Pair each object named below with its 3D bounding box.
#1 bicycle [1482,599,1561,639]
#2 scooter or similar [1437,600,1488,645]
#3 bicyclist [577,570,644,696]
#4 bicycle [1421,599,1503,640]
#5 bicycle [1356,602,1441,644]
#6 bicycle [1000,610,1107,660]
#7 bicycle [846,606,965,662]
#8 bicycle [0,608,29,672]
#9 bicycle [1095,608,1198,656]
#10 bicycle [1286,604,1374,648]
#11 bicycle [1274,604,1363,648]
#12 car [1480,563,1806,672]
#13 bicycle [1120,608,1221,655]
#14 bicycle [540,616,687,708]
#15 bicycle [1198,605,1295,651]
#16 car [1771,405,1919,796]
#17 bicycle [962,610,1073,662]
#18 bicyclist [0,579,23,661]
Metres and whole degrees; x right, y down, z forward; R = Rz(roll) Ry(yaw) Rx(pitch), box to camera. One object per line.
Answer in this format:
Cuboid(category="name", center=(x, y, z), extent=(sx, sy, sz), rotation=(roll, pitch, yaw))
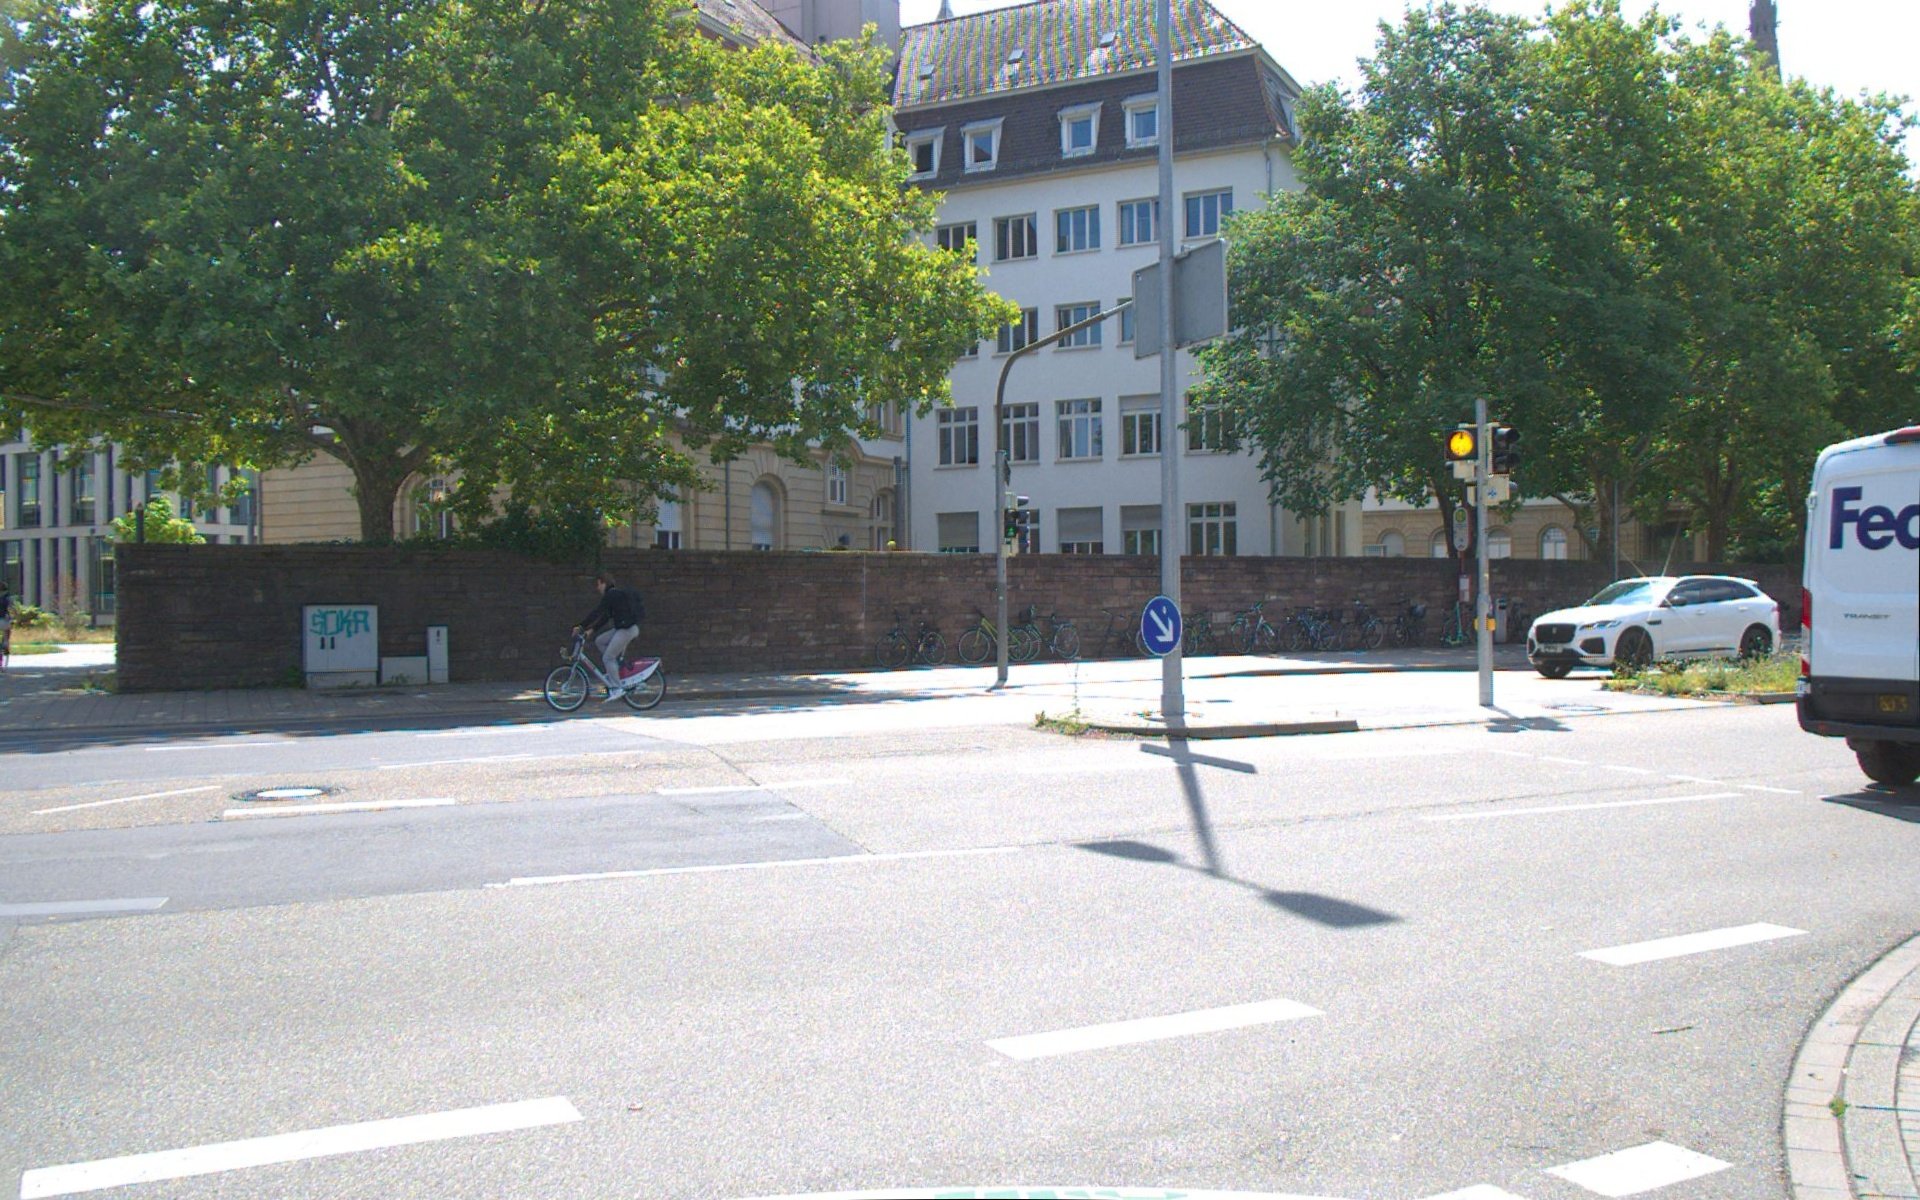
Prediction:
Cuboid(category="bicycle", center=(15.137, 0.499, 44.548), extent=(2.360, 1.011, 0.745), rotation=(-1, 0, -35))
Cuboid(category="scooter or similar", center=(12.634, 0.563, 41.552), extent=(0.530, 1.103, 1.923), rotation=(-1, -1, 40))
Cuboid(category="bicyclist", center=(-4.833, 0.450, 22.909), extent=(0.872, 1.701, 0.682), rotation=(-1, 0, -12))
Cuboid(category="bicycle", center=(13.085, 0.510, 43.059), extent=(2.361, 1.011, 0.745), rotation=(-1, 0, -35))
Cuboid(category="bicycle", center=(11.071, 0.574, 41.722), extent=(2.362, 1.011, 0.744), rotation=(-1, 0, -36))
Cuboid(category="bicycle", center=(2.022, 0.743, 35.483), extent=(2.359, 1.011, 0.689), rotation=(-1, 0, -33))
Cuboid(category="bicycle", center=(-1.087, 0.670, 33.437), extent=(2.359, 1.077, 0.745), rotation=(-1, 0, -33))
Cuboid(category="bicycle", center=(-17.669, 0.731, 30.618), extent=(0.543, 1.150, 2.158), rotation=(0, 0, -23))
Cuboid(category="bicycle", center=(4.179, 0.700, 36.955), extent=(2.359, 1.011, 0.745), rotation=(-1, 0, -33))
Cuboid(category="bicycle", center=(9.049, 0.621, 40.383), extent=(2.361, 1.011, 0.715), rotation=(-1, 0, -36))
Cuboid(category="bicycle", center=(8.715, 0.627, 40.148), extent=(2.361, 1.011, 0.744), rotation=(-1, 0, -36))
Cuboid(category="car", center=(11.449, 0.253, 27.695), extent=(5.218, 1.670, 1.986), rotation=(-1, 0, -23))
Cuboid(category="bicycle", center=(4.760, 0.700, 37.363), extent=(2.359, 1.011, 0.716), rotation=(-1, 0, -33))
Cuboid(category="bicycle", center=(-4.788, 0.839, 22.920), extent=(1.946, 1.205, 0.680), rotation=(-1, 0, -12))
Cuboid(category="bicycle", center=(6.718, 0.640, 38.738), extent=(2.359, 1.011, 0.745), rotation=(-1, 0, -33))
Cuboid(category="car", center=(8.821, -0.059, 12.411), extent=(5.519, 2.611, 2.083), rotation=(-1, 1, -28))
Cuboid(category="bicycle", center=(1.223, 0.746, 34.934), extent=(2.359, 1.011, 0.745), rotation=(-1, 0, -33))
Cuboid(category="bicyclist", center=(-17.607, 0.369, 30.487), extent=(0.507, 1.477, 0.781), rotation=(0, -1, -24))
